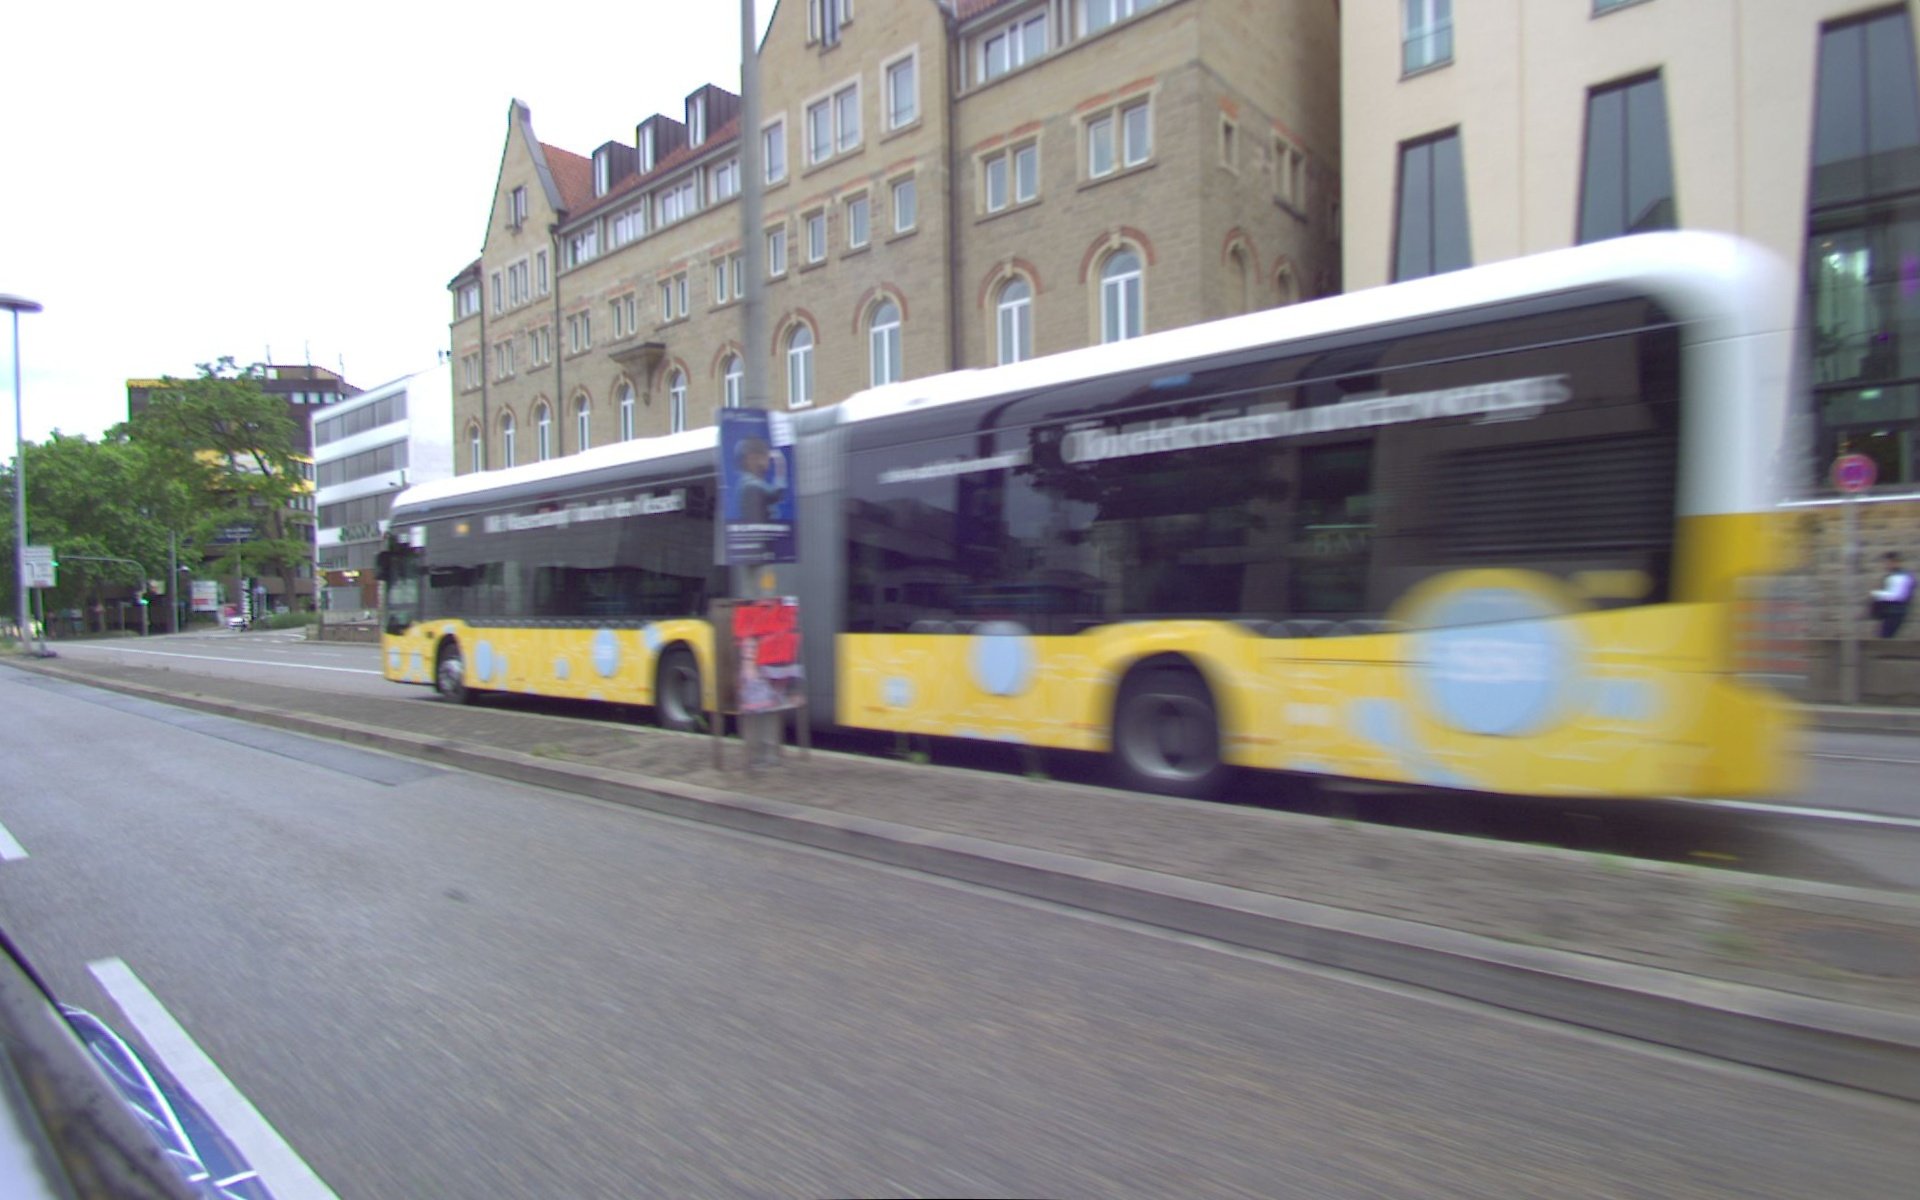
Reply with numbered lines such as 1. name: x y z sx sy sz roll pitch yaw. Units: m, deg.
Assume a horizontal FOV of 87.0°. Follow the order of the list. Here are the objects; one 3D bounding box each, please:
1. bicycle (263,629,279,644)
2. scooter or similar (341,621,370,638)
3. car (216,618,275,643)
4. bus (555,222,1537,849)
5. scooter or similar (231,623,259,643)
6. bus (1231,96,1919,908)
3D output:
1. bicycle: -44.805 2.373 65.809 1.757 0.999 0.452 -3 -1 41
2. scooter or similar: -39.288 1.892 65.770 0.443 0.928 1.455 -4 3 38
3. car: -56.930 2.382 80.777 1.967 1.666 4.855 -3 1 -11
4. bus: -0.266 -0.239 10.088 10.086 3.586 2.670 -2 -2 41
5. scooter or similar: -48.206 2.232 68.252 0.366 1.256 1.750 -2 2 11
6. bus: 6.477 -0.479 4.298 10.086 3.586 2.670 -2 -2 41
